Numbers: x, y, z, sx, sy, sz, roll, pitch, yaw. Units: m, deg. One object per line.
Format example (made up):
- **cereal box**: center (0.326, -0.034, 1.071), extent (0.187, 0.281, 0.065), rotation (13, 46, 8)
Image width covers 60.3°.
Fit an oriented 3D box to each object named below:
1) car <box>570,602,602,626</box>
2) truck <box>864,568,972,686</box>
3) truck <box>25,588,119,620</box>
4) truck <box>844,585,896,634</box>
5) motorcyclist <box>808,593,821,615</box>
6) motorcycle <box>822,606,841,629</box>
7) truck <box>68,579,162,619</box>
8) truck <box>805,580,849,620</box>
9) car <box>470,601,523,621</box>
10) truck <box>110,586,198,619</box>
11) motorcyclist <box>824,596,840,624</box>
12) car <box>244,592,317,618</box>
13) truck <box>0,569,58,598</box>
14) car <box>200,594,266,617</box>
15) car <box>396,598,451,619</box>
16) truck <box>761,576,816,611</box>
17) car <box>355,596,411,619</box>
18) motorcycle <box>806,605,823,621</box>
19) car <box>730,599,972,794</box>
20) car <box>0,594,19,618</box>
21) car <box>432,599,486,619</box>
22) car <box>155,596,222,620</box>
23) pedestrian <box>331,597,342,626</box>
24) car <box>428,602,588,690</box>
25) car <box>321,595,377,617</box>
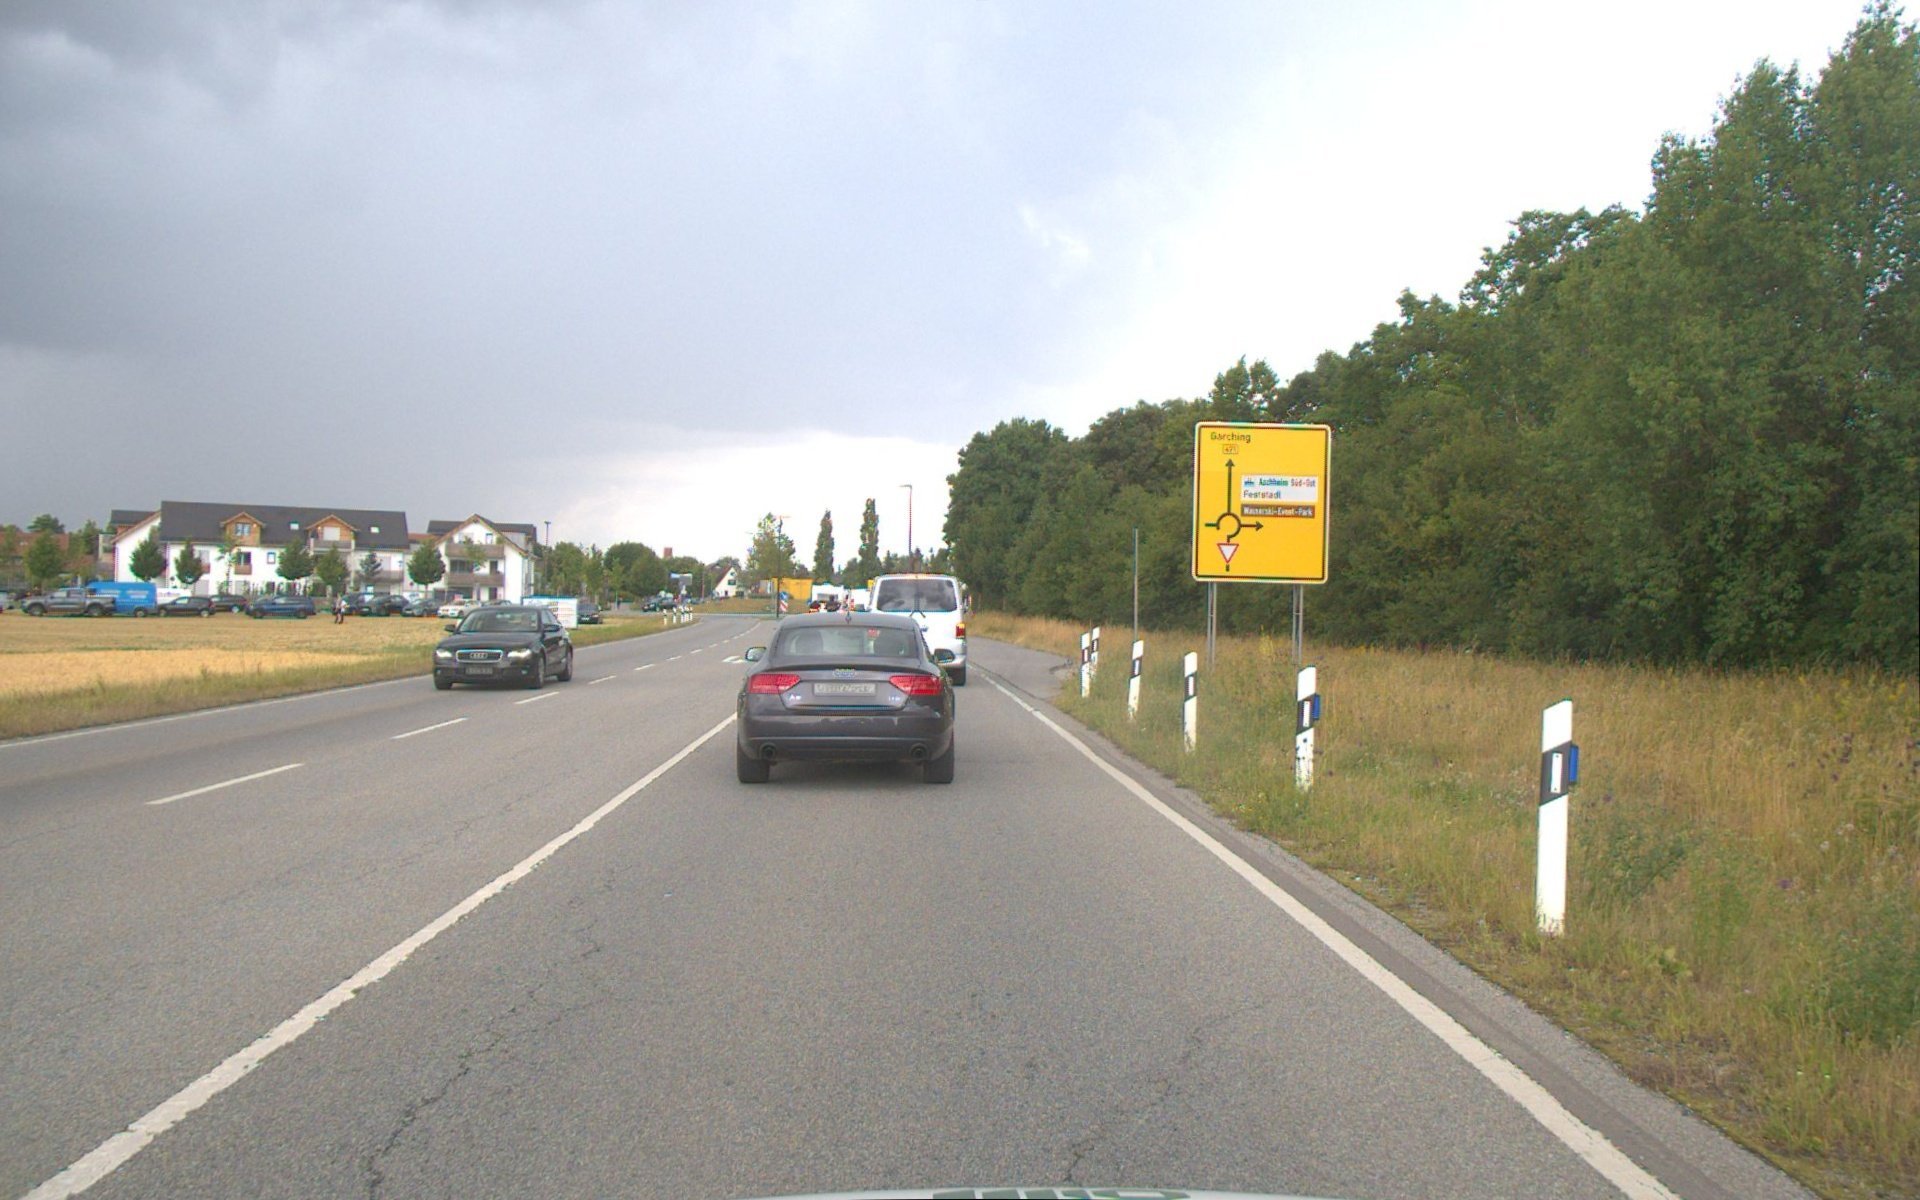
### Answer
- **car**: center (-25.284, 0.927, 111.771), extent (1.960, 1.467, 3.985), rotation (1, 1, -14)
- **truck**: center (-0.861, 0.472, 31.193), extent (1.866, 2.033, 4.625), rotation (1, 0, -3)
- **truck**: center (-55.994, 0.265, 104.349), extent (5.172, 1.954, 2.091), rotation (1, 0, -30)
- **truck**: center (-3.926, 0.415, 72.082), extent (2.150, 2.049, 5.081), rotation (1, 0, -3)
- **motorcyclist**: center (-9.509, 0.256, 108.218), extent (0.771, 1.380, 0.852), rotation (1, 0, -10)
- **motorcycle**: center (-6.454, 0.860, 83.060), extent (0.902, 1.113, 2.187), rotation (1, 0, -4)
- **truck**: center (-55.415, -0.045, 108.585), extent (5.382, 2.489, 2.373), rotation (1, 0, -27)
- **truck**: center (-9.730, 0.008, 120.435), extent (2.579, 2.785, 5.853), rotation (1, 0, -10)
- **car**: center (-34.616, 0.796, 123.555), extent (1.951, 1.471, 4.215), rotation (1, 0, 15)
- **truck**: center (-56.545, 0.175, 116.121), extent (5.497, 2.235, 2.585), rotation (1, 0, -27)
- **motorcyclist**: center (-6.432, 0.496, 82.926), extent (0.757, 1.408, 0.819), rotation (1, 0, -5)
- **car**: center (-47.690, 0.372, 116.068), extent (4.653, 1.727, 1.985), rotation (1, 0, -24)
- **truck**: center (-88.133, -1.533, 151.409), extent (9.158, 2.574, 3.298), rotation (1, 0, -3)
- **car**: center (-55.950, 0.437, 127.343), extent (4.564, 1.727, 1.985), rotation (1, 0, -24)
- **car**: center (-40.204, 0.642, 123.993), extent (1.951, 1.562, 4.215), rotation (1, 0, 15)
- **truck**: center (-18.901, -0.781, 181.709), extent (3.526, 3.641, 9.892), rotation (2, 0, -21)
- **car**: center (-43.324, 0.548, 124.240), extent (1.951, 1.657, 4.215), rotation (0, 0, 15)
- **motorcycle**: center (-9.534, 0.850, 108.133), extent (0.927, 1.037, 2.279), rotation (1, 0, -9)
- **car**: center (-0.972, 0.737, 14.707), extent (1.838, 1.479, 4.173), rotation (0, 0, -4)
- **car**: center (-62.439, 0.360, 105.413), extent (4.249, 1.487, 1.872), rotation (1, 0, -30)
- **car**: center (-37.474, 0.675, 123.765), extent (1.951, 1.471, 4.215), rotation (1, 0, 15)
- **car**: center (-52.889, 0.558, 113.429), extent (4.101, 1.545, 1.985), rotation (1, 0, -24)
- **pedestrian**: center (-39.299, 0.709, 104.257), extent (0.539, 1.817, 0.675), rotation (1, -1, -15)
- **car**: center (-7.937, 0.761, 29.445), extent (1.790, 1.435, 4.422), rotation (0, 0, -2)
- **car**: center (-46.622, 0.463, 126.290), extent (1.951, 1.657, 4.215), rotation (0, 0, 15)
